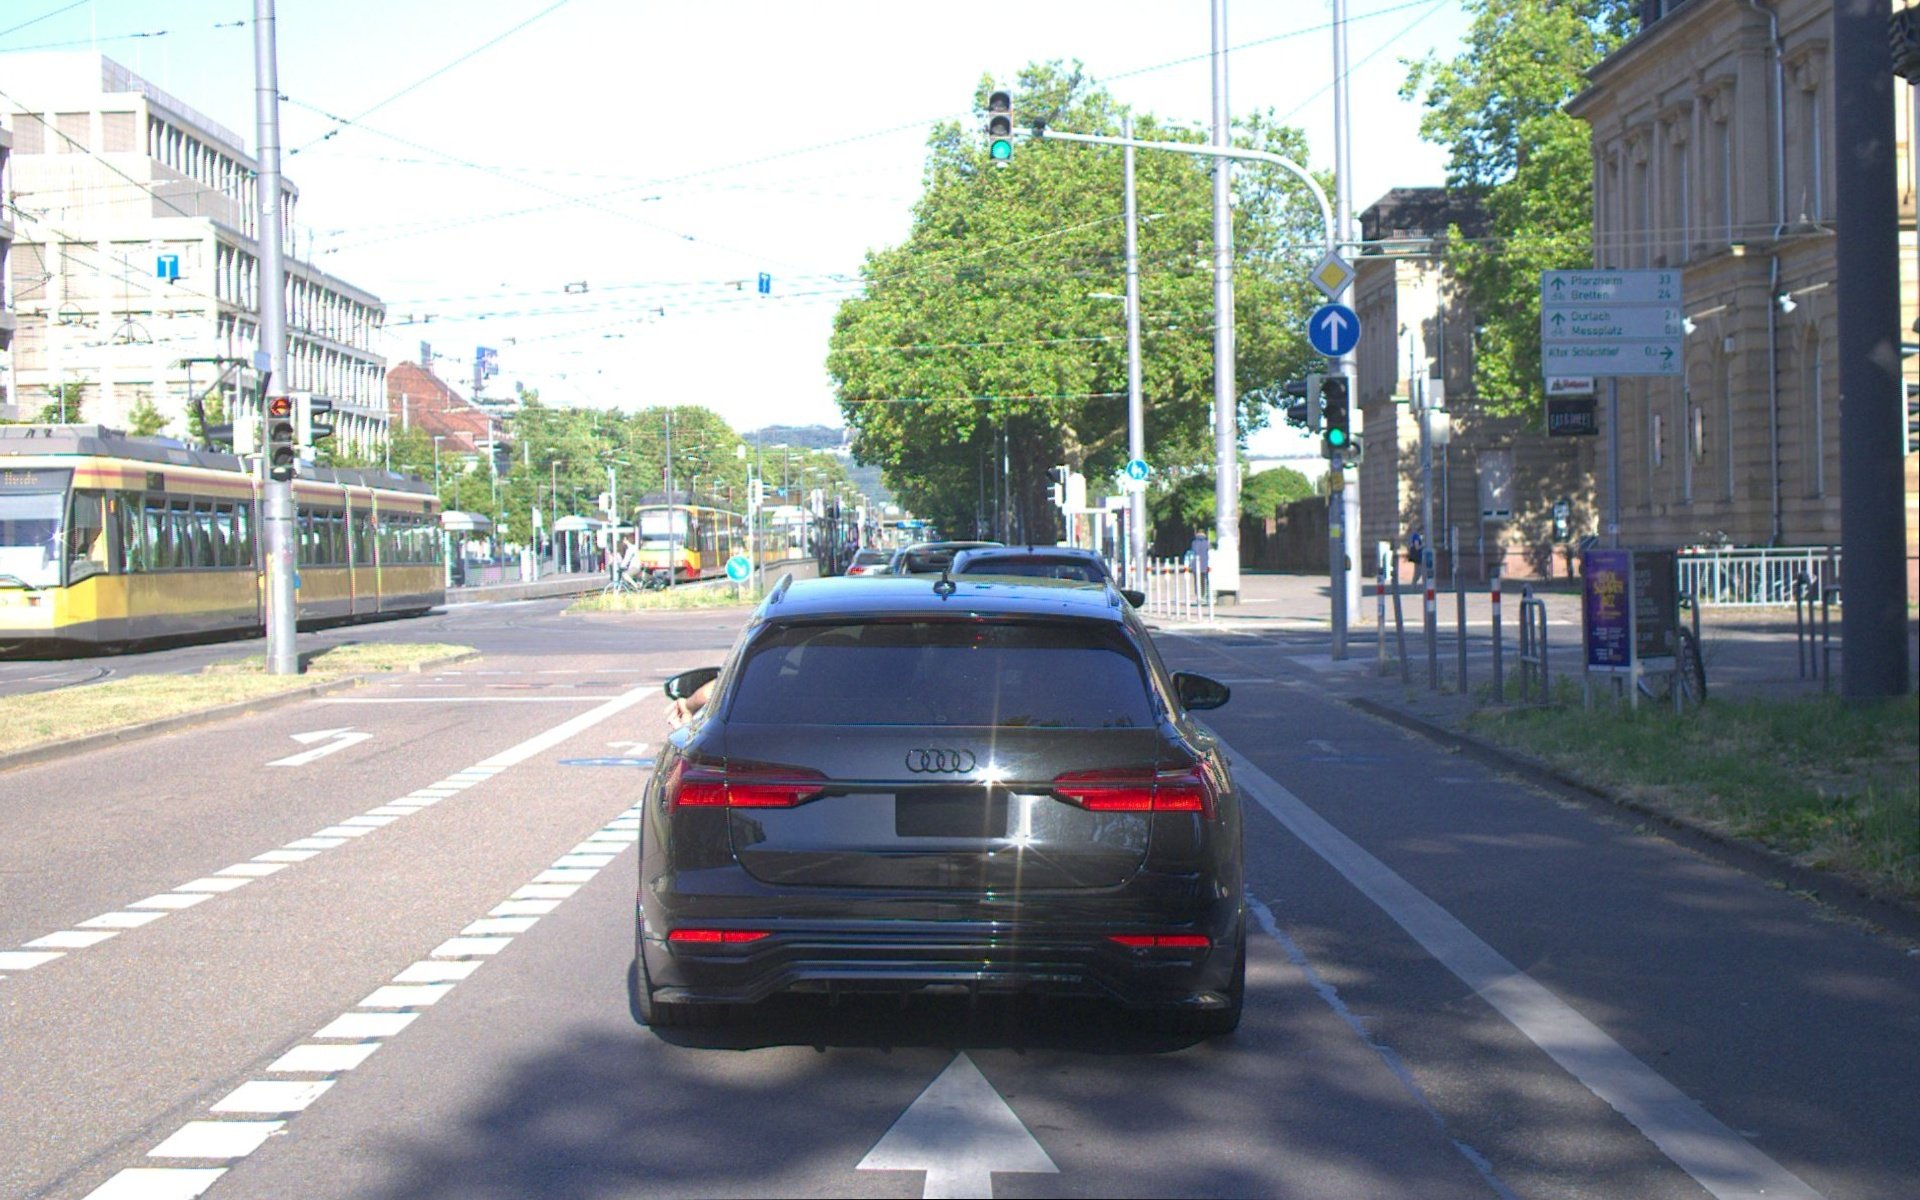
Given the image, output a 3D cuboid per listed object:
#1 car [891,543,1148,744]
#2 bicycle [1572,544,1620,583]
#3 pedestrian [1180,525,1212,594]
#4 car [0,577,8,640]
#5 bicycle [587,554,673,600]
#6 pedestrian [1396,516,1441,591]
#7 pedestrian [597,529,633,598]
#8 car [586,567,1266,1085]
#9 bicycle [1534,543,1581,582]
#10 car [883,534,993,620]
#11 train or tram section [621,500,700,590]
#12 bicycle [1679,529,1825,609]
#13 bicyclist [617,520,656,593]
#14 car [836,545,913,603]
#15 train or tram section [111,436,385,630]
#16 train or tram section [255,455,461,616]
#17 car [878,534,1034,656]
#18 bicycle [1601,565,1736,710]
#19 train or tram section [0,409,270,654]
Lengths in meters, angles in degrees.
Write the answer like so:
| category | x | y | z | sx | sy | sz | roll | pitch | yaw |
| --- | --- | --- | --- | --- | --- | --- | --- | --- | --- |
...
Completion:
| category | x | y | z | sx | sy | sz | roll | pitch | yaw |
| --- | --- | --- | --- | --- | --- | --- | --- | --- | --- |
| car | 0.441 | 0.295 | 27.775 | 1.902 | 1.481 | 4.145 | 1 | 1 | 0 |
| bicycle | 17.441 | -1.018 | 94.274 | 0.526 | 1.043 | 2.360 | -1 | 1 | -9 |
| pedestrian | 5.726 | -0.993 | 83.441 | 0.682 | 1.655 | 0.758 | -1 | 1 | -2 |
| car | -22.964 | 0.238 | 77.858 | 1.819 | 1.452 | 4.157 | -1 | 1 | -3 |
| bicycle | -8.231 | -0.577 | 85.744 | 2.005 | 1.104 | 0.765 | -1 | 1 | -20 |
| pedestrian | 11.421 | -1.164 | 85.658 | 0.979 | 1.859 | 0.827 | -1 | 1 | 1 |
| pedestrian | -8.750 | -0.935 | 87.182 | 0.739 | 1.735 | 0.664 | -1 | 1 | -23 |
| car | -0.102 | 0.618 | 11.780 | 1.902 | 1.417 | 4.145 | 1 | 1 | 0 |
| bicycle | 16.375 | -1.027 | 94.292 | 0.526 | 1.043 | 2.360 | -1 | 1 | -9 |
| car | -0.390 | -0.431 | 61.944 | 1.902 | 1.481 | 4.145 | 1 | 1 | 0 |
| train or tram section | -11.981 | -2.211 | 138.245 | 2.608 | 3.439 | 11.133 | -1 | 1 | -2 |
| bicycle | 12.791 | -0.506 | 55.537 | 2.136 | 1.205 | 0.765 | -2 | 1 | -2 |
| bicyclist | -8.072 | -1.087 | 85.815 | 0.756 | 1.812 | 0.765 | -1 | 1 | -20 |
| car | -2.325 | -0.715 | 92.414 | 1.902 | 1.481 | 4.145 | 1 | 1 | -4 |
| train or tram section | -14.006 | -1.314 | 68.904 | 2.813 | 3.477 | 13.204 | -1 | 1 | -1 |
| train or tram section | -14.106 | -1.507 | 81.597 | 2.813 | 3.477 | 12.154 | -1 | 1 | -1 |
| car | -0.059 | -0.091 | 44.398 | 1.902 | 1.481 | 4.145 | 1 | 1 | 0 |
| bicycle | 5.461 | 0.271 | 26.582 | 0.540 | 1.058 | 1.772 | -1 | 1 | -4 |
| train or tram section | -13.880 | -1.068 | 55.700 | 2.813 | 3.477 | 13.204 | -1 | 1 | -1 |
